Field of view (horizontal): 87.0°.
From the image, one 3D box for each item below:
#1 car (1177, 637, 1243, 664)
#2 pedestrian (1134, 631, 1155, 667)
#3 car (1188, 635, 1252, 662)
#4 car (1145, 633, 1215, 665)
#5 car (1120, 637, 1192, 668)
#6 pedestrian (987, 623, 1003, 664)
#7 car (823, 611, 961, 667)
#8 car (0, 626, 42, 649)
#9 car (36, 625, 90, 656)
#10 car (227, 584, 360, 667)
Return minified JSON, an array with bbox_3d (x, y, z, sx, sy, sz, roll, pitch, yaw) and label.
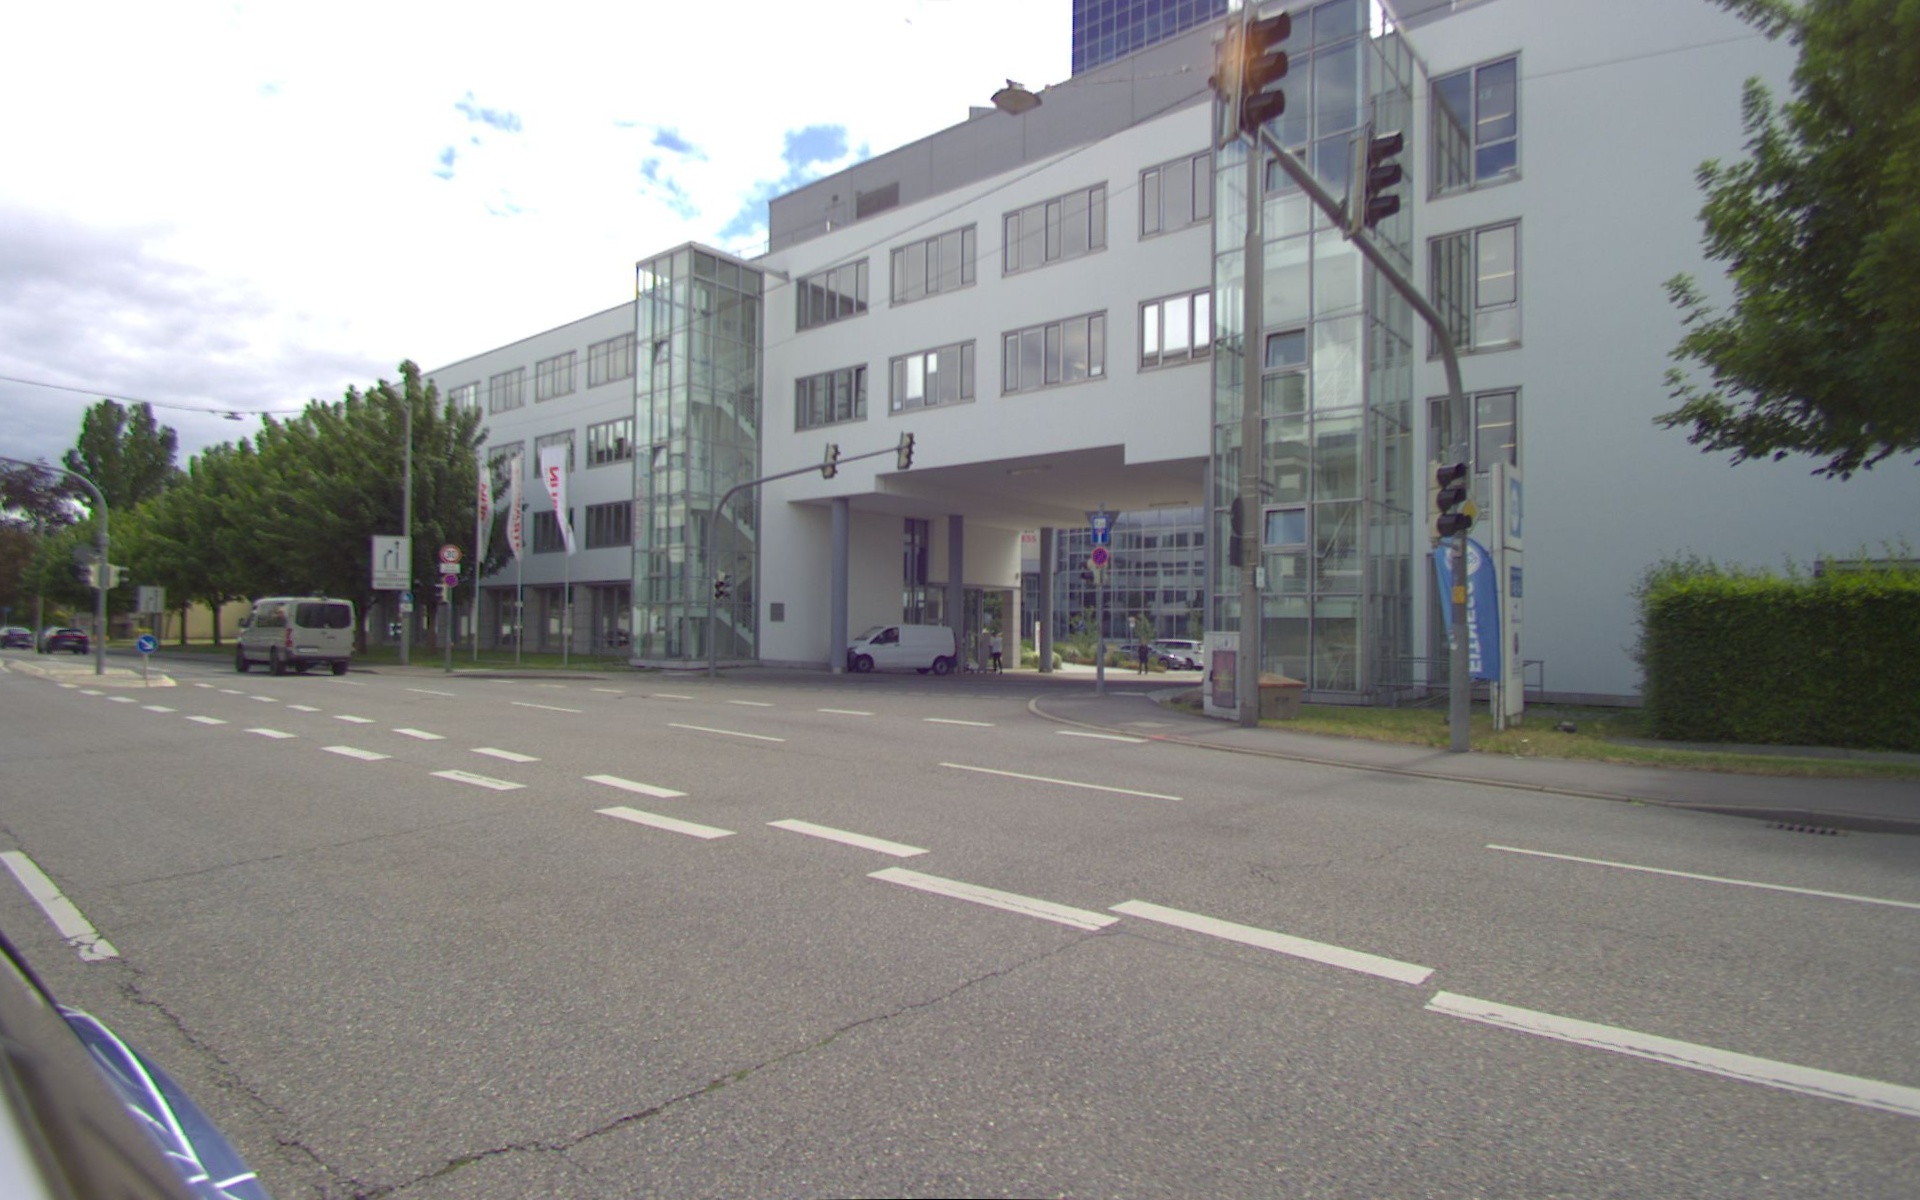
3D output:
[{"bbox_3d":[17.292,3.486,70.073,4.002,1.665,1.825,0,1,38],"label":"car"},{"bbox_3d":[9.541,2.521,52.375,0.815,1.796,0.692,0,1,36],"label":"pedestrian"},{"bbox_3d":[18.483,3.445,72.074,4.002,1.665,1.825,0,1,38],"label":"car"},{"bbox_3d":[14.221,3.119,65.535,3.995,1.853,1.930,0,1,38],"label":"car"},{"bbox_3d":[12.335,3.265,63.777,3.996,1.715,1.974,0,1,39],"label":"car"},{"bbox_3d":[1.467,1.832,42.348,0.486,1.674,0.506,0,1,37],"label":"pedestrian"},{"bbox_3d":[-2.583,1.491,38.612,4.751,1.882,2.091,4,-1,-26],"label":"car"},{"bbox_3d":[-64.860,2.575,69.406,5.044,1.456,2.004,0,-3,39],"label":"car"},{"bbox_3d":[-50.726,2.261,57.199,4.541,1.564,1.864,0,-2,44],"label":"car"},{"bbox_3d":[-22.069,0.841,33.369,6.071,2.490,2.120,-1,-3,42],"label":"car"}]
